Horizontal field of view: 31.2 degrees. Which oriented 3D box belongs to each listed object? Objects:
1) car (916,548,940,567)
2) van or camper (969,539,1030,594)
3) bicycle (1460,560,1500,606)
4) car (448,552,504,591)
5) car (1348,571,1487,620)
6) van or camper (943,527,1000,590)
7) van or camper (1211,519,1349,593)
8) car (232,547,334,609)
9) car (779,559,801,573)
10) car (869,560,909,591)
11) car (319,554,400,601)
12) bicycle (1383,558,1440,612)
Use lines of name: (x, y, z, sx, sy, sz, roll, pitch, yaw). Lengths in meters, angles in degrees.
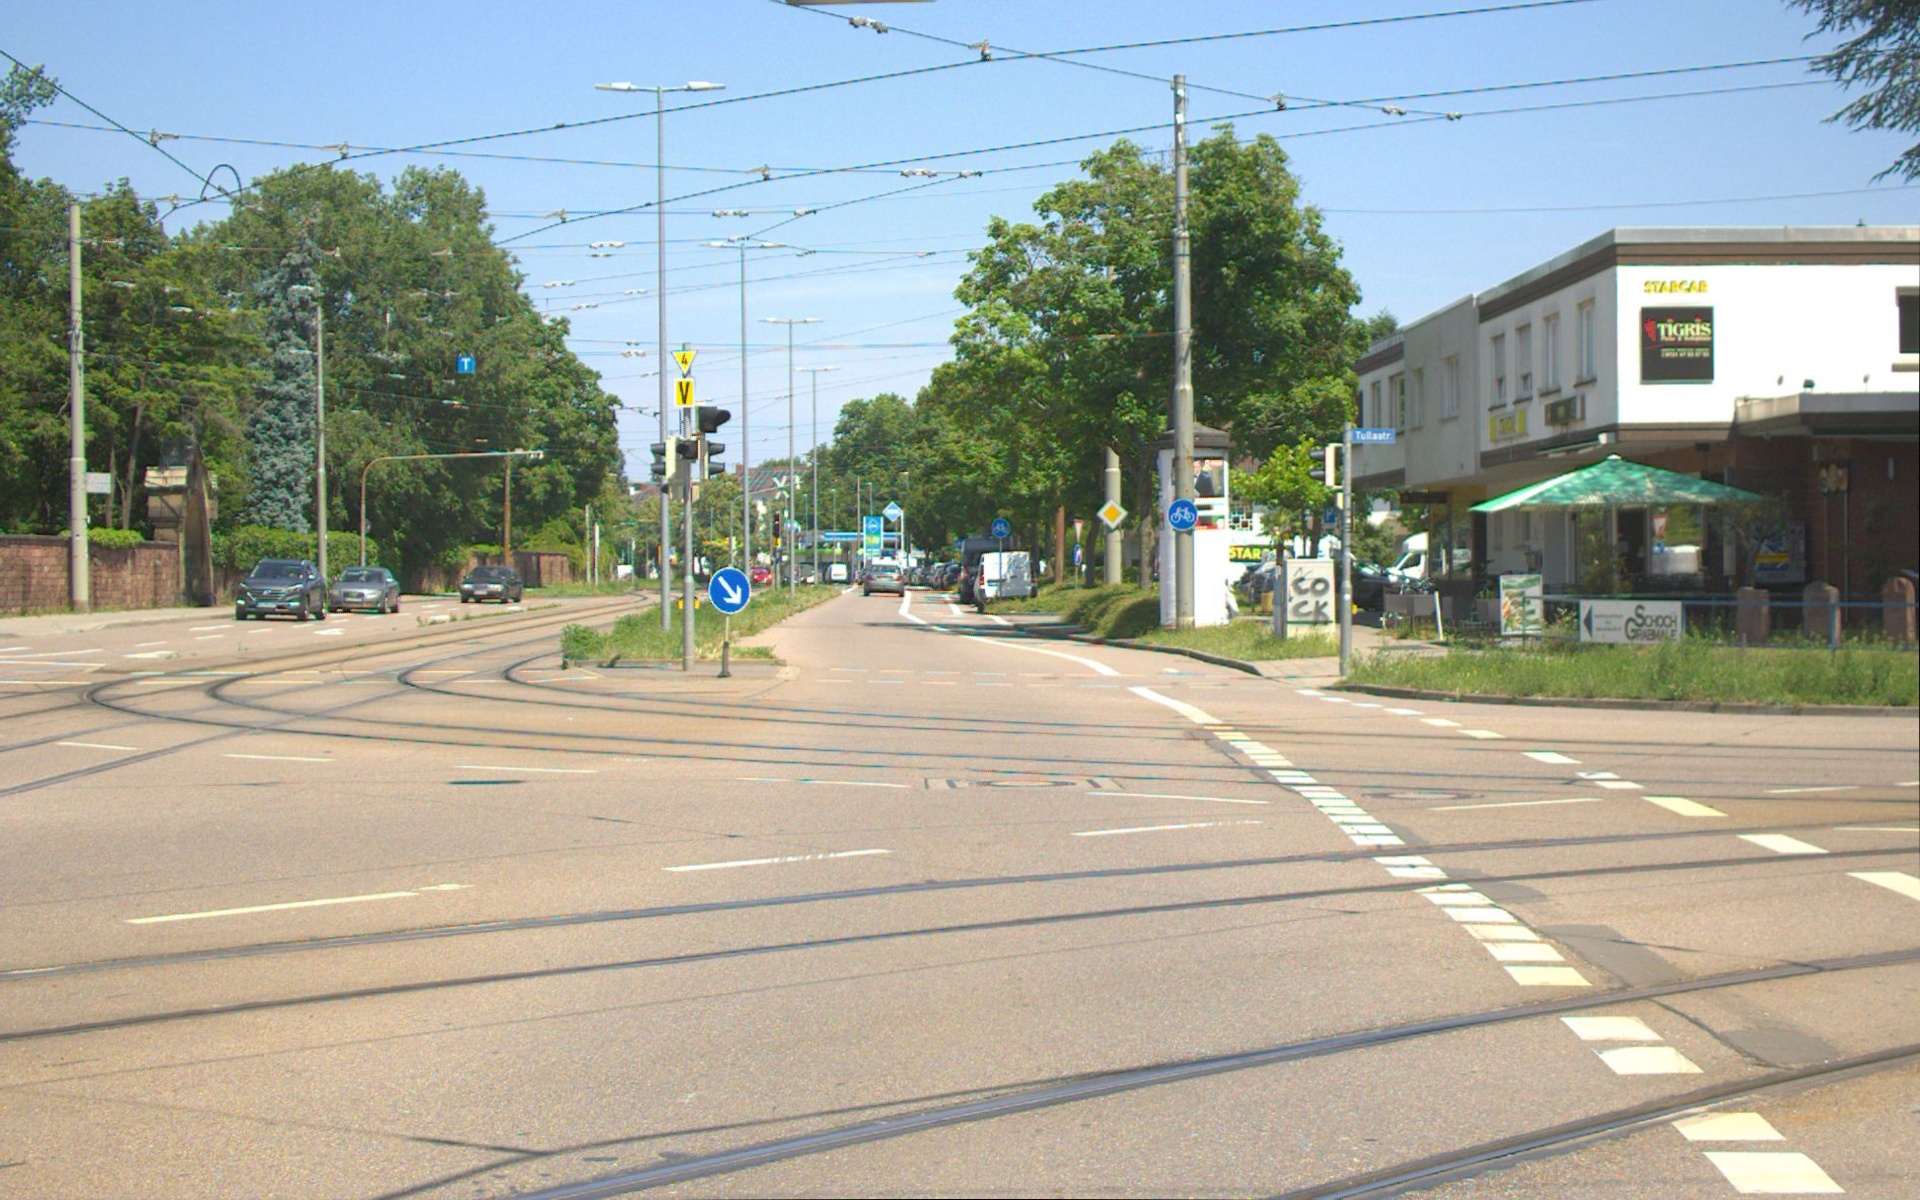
car: (-2.303, -3.062, 247.100, 1.523, 1.292, 3.493, 0, 1, -3)
van or camper: (1.277, -1.099, 111.974, 1.922, 1.766, 4.000, 0, 1, 0)
bicycle: (12.132, -0.392, 80.241, 0.507, 1.062, 1.864, 2, 0, -4)
car: (-18.467, -1.095, 131.215, 1.641, 1.395, 4.116, 1, 1, -2)
car: (12.832, -0.127, 96.403, 3.606, 1.346, 1.491, 0, 1, -7)
van or camper: (0.433, -1.626, 134.429, 1.993, 2.456, 4.001, 0, 1, -3)
van or camper: (11.618, -1.614, 124.988, 4.756, 2.662, 2.136, 0, 1, -2)
car: (-18.100, -0.607, 92.082, 1.820, 1.598, 4.520, 0, 1, 0)
car: (-12.216, -2.453, 246.822, 1.492, 1.043, 3.580, 0, 1, -1)
car: (-3.129, -1.085, 150.959, 1.636, 1.346, 3.842, 0, 1, -3)
car: (-18.392, -0.710, 105.479, 1.641, 1.416, 4.167, 0, 1, 2)
bicycle: (8.658, -0.302, 66.075, 1.034, 1.011, 2.636, 0, 1, 6)
